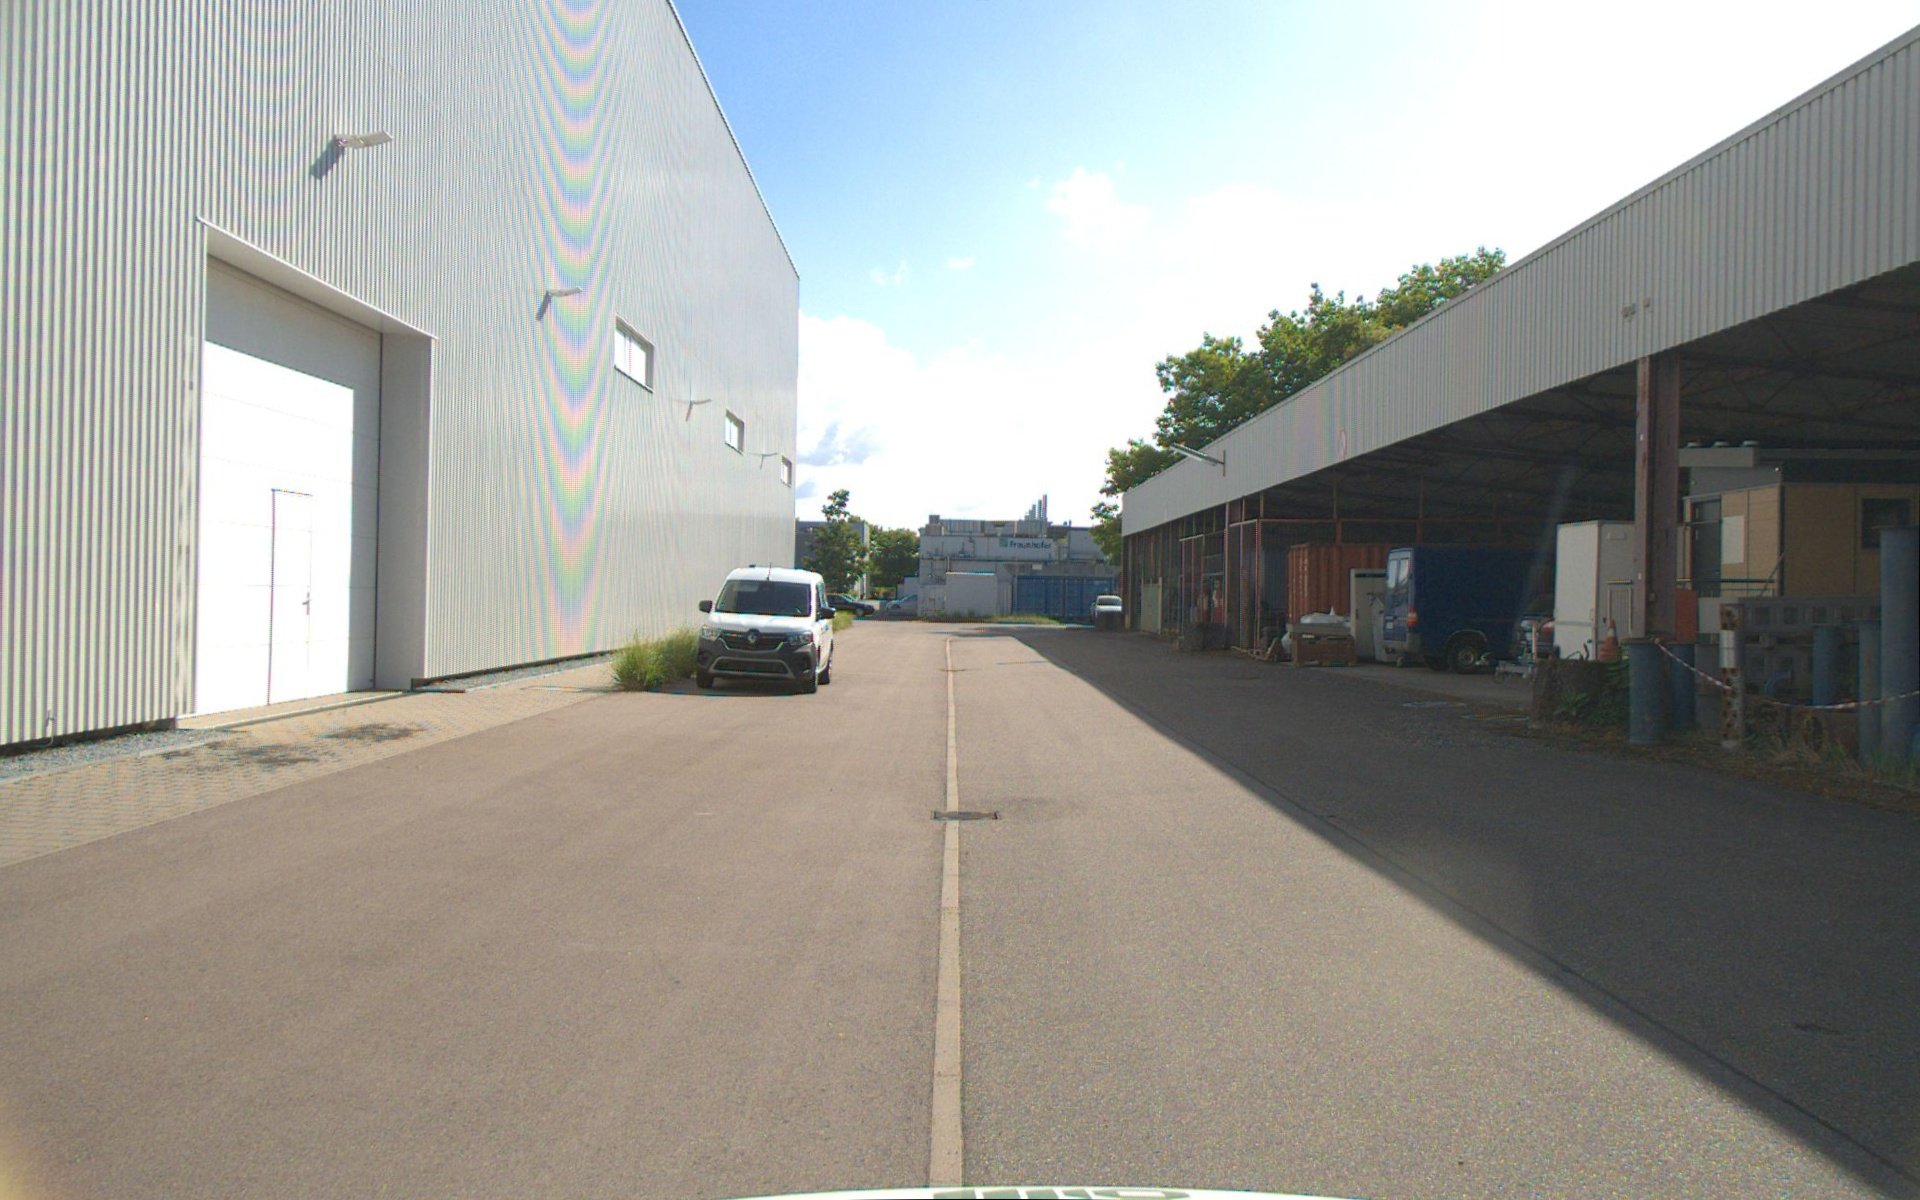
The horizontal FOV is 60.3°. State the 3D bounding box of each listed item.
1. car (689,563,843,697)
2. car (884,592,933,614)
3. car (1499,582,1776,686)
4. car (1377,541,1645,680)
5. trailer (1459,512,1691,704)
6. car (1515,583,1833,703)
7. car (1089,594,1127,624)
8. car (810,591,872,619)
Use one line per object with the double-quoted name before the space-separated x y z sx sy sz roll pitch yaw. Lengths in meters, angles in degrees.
"car" -2.893 0.400 25.507 1.781 1.818 4.405 2 0 0
"car" -4.201 0.240 135.588 3.906 1.626 1.847 2 -2 -2
"car" 11.357 0.588 27.893 3.955 1.551 1.684 2 -2 0
"car" 10.252 0.226 30.979 4.342 2.350 1.915 2 -2 0
"trailer" 8.188 0.116 22.170 2.472 2.441 1.727 1 -1 0
"car" 10.477 0.639 24.460 3.955 1.551 1.684 2 -2 0
"car" 8.520 0.515 95.430 1.921 1.592 4.060 2 1 1
"car" -7.739 0.336 107.669 3.906 1.626 1.741 2 -2 -2
